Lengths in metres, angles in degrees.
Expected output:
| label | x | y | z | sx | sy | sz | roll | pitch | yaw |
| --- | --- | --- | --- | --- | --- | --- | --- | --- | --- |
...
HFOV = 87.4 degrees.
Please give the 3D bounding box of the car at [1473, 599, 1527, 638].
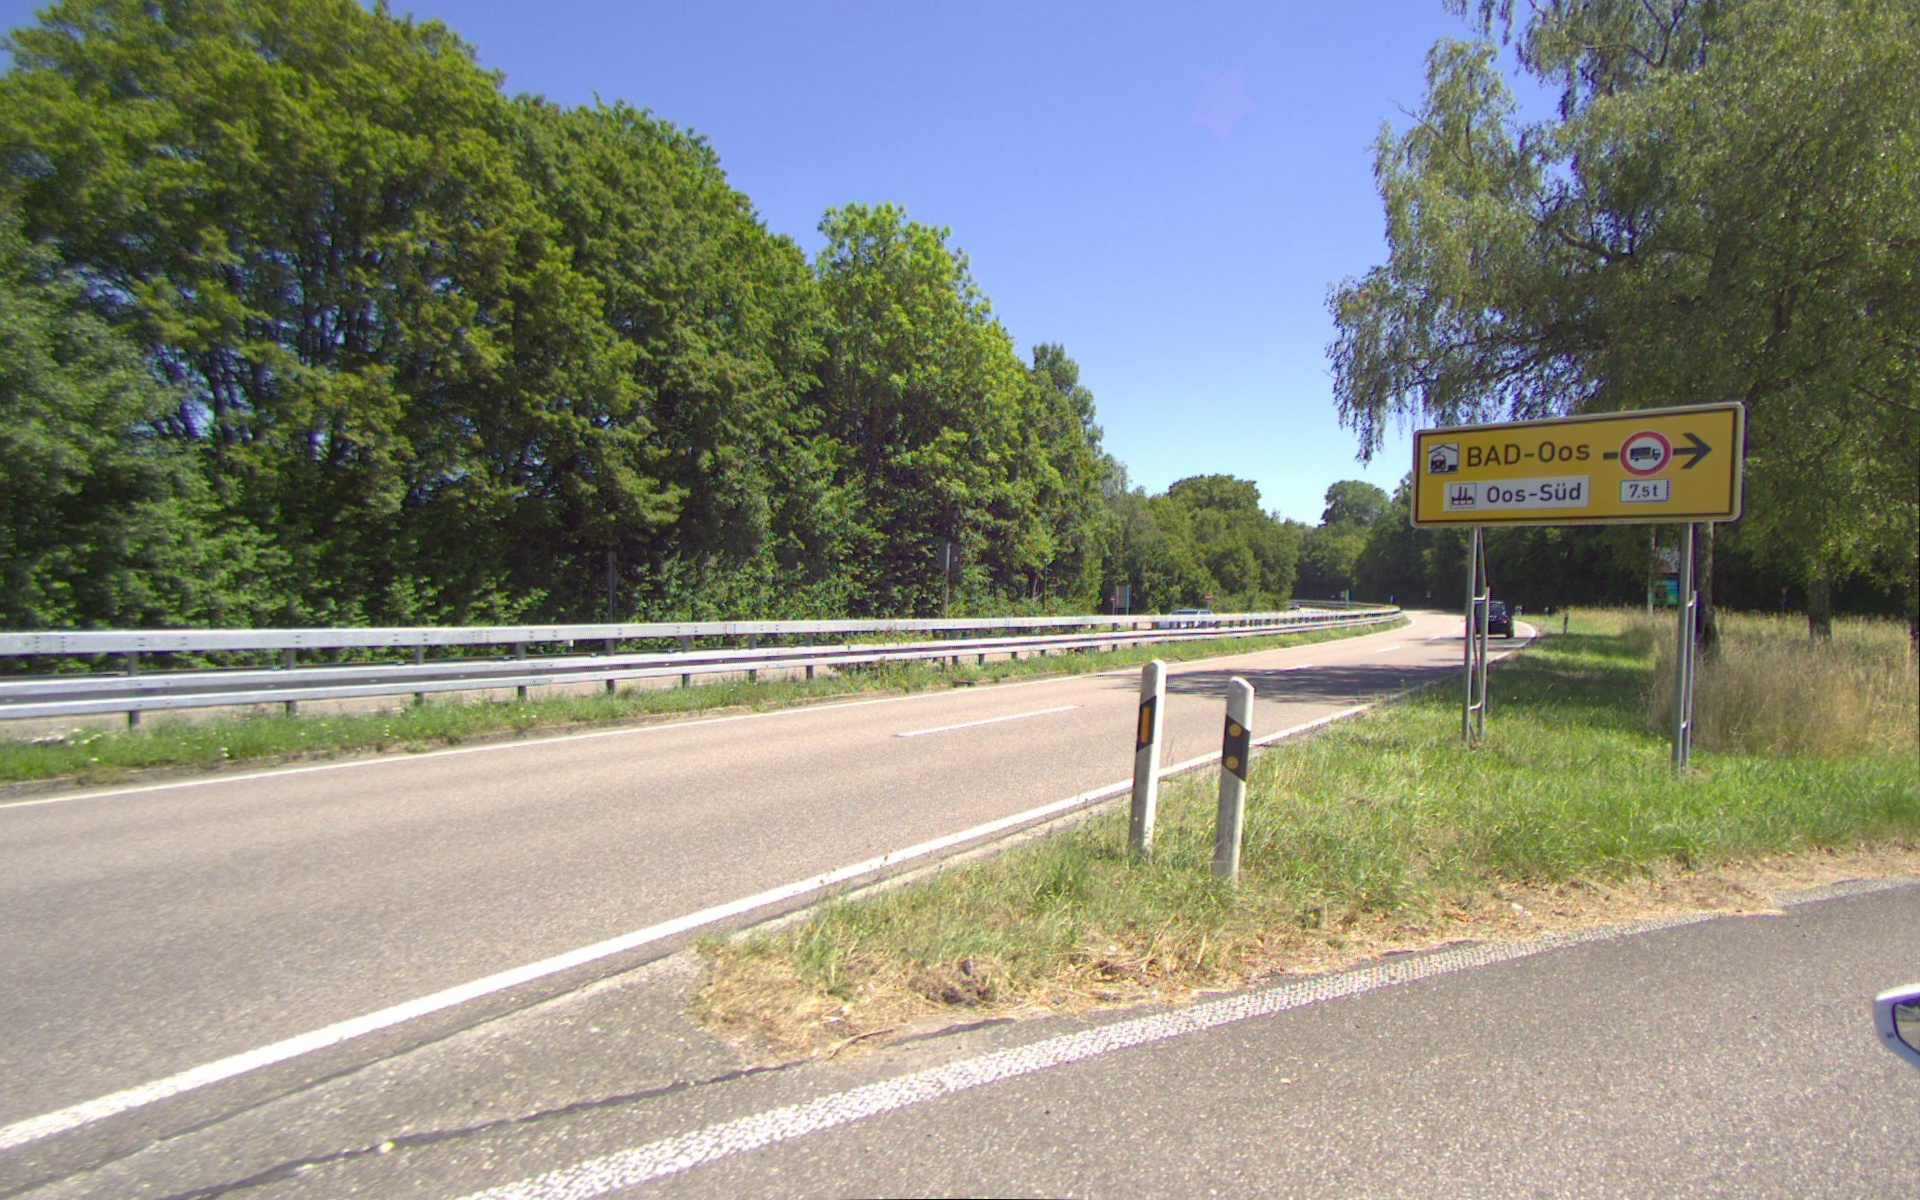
| label | x | y | z | sx | sy | sz | roll | pitch | yaw |
| --- | --- | --- | --- | --- | --- | --- | --- | --- | --- |
| car | 22.087 | 0.759 | 41.039 | 1.494 | 1.521 | 3.577 | -1 | -1 | 36 |
